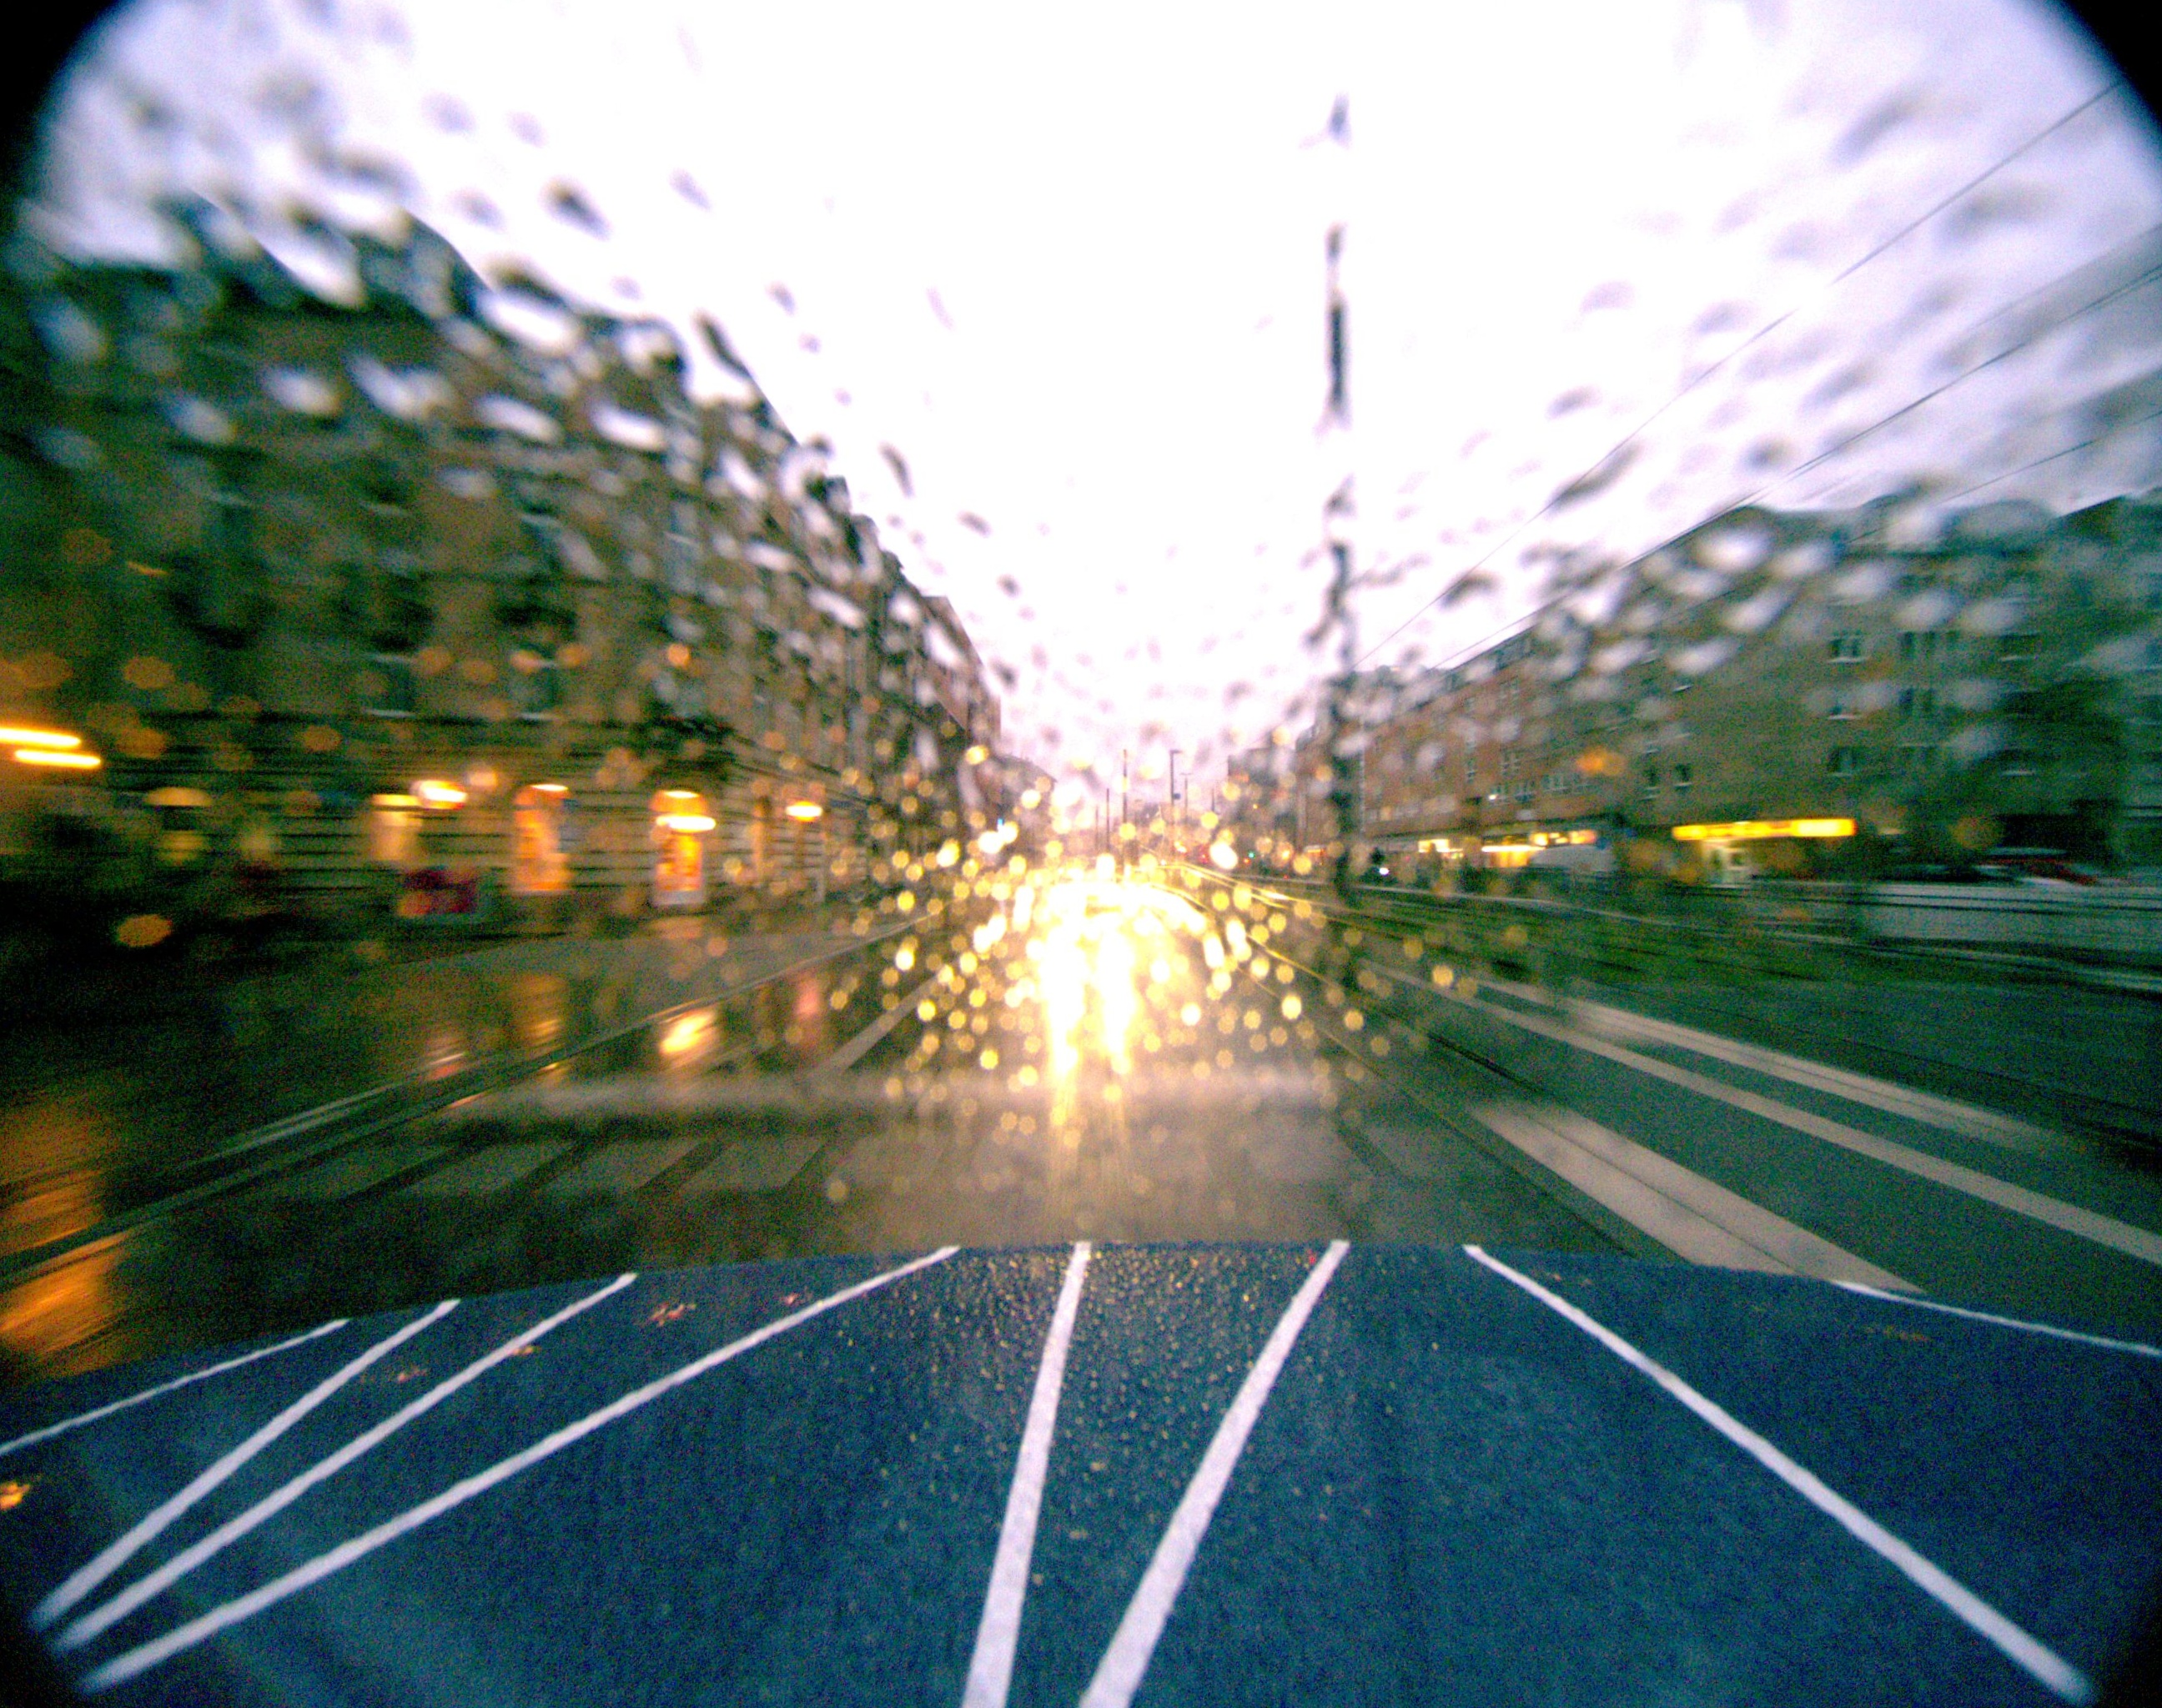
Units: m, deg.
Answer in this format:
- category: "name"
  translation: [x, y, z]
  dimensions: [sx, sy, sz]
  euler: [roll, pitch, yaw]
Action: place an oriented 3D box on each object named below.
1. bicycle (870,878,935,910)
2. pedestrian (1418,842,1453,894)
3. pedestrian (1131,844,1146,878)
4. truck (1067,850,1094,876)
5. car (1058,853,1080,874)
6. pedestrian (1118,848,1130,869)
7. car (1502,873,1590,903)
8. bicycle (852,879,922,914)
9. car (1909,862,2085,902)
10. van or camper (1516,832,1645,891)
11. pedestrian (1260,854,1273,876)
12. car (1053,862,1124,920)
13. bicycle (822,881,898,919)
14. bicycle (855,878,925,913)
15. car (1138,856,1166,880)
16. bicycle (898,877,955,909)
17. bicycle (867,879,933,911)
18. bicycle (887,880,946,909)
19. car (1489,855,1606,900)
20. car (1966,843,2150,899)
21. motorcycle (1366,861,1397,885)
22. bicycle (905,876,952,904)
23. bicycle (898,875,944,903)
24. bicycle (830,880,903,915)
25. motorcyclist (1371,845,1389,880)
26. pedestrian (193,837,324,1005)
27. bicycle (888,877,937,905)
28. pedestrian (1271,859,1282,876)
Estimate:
- category: "bicycle"
  translation: [-6.212, 1.387, 26.463]
  dimensions: [2.149, 1.048, 0.425]
  euler: [2, -1, -1]
- category: "pedestrian"
  translation: [12.323, 0.472, 26.425]
  dimensions: [0.799, 1.769, 0.820]
  euler: [-3, 1, -41]
- category: "pedestrian"
  translation: [3.498, 0.428, 46.340]
  dimensions: [0.812, 2.098, 0.804]
  euler: [-1, 0, -2]
- category: "truck"
  translation: [-0.057, 0.694, 59.067]
  dimensions: [1.909, 1.905, 4.617]
  euler: [-2, 0, 0]
- category: "car"
  translation: [-1.208, 0.900, 75.909]
  dimensions: [1.998, 2.002, 4.000]
  euler: [-2, 0, 1]
- category: "pedestrian"
  translation: [3.658, 0.388, 65.013]
  dimensions: [0.779, 1.694, 0.772]
  euler: [-2, 1, -18]
- category: "car"
  translation: [19.023, 1.365, 31.266]
  dimensions: [1.458, 1.116, 3.426]
  euler: [0, 0, -2]
- category: "bicycle"
  translation: [-6.276, 1.365, 24.620]
  dimensions: [2.093, 1.046, 0.478]
  euler: [2, 0, -1]
- category: "car"
  translation: [35.679, 1.052, 29.782]
  dimensions: [1.606, 1.422, 4.140]
  euler: [0, 0, -11]
- category: "van or camper"
  translation: [25.140, 0.351, 38.696]
  dimensions: [2.778, 2.666, 6.757]
  euler: [-2, 0, 7]
- category: "pedestrian"
  translation: [12.815, 0.762, 52.521]
  dimensions: [0.636, 1.515, 0.756]
  euler: [-2, 0, 0]
- category: "car"
  translation: [0.182, 0.979, 21.813]
  dimensions: [1.774, 1.449, 4.221]
  euler: [-2, 0, 0]
- category: "bicycle"
  translation: [-6.478, 1.336, 22.302]
  dimensions: [2.097, 1.046, 0.477]
  euler: [1, 0, -26]
- category: "bicycle"
  translation: [-6.300, 1.366, 25.116]
  dimensions: [2.149, 1.048, 0.425]
  euler: [2, -1, -1]
- category: "car"
  translation: [4.512, 0.848, 48.551]
  dimensions: [1.435, 1.433, 3.136]
  euler: [-2, 0, 1]
- category: "bicycle"
  translation: [-5.756, 1.438, 28.299]
  dimensions: [2.013, 1.089, 0.425]
  euler: [2, 0, -1]
- category: "bicycle"
  translation: [-6.163, 1.391, 25.921]
  dimensions: [2.149, 1.049, 0.484]
  euler: [1, 0, -1]
- category: "bicycle"
  translation: [-5.982, 1.476, 27.646]
  dimensions: [2.013, 0.965, 0.425]
  euler: [2, 0, -1]
- category: "car"
  translation: [15.447, 0.732, 25.385]
  dimensions: [1.686, 1.346, 3.545]
  euler: [-2, 0, -1]
- category: "car"
  translation: [38.324, 0.633, 29.981]
  dimensions: [1.748, 2.022, 4.140]
  euler: [0, 0, -11]
- category: "motorcycle"
  translation: [13.202, 0.836, 33.411]
  dimensions: [0.514, 1.002, 1.806]
  euler: [-2, 0, -3]
- category: "bicycle"
  translation: [-5.867, 1.387, 29.340]
  dimensions: [1.734, 1.049, 0.371]
  euler: [1, 0, -1]
- category: "bicycle"
  translation: [-6.284, 1.382, 29.836]
  dimensions: [1.734, 1.049, 0.371]
  euler: [1, 0, -1]
- category: "bicycle"
  translation: [-6.621, 1.341, 23.496]
  dimensions: [2.093, 1.046, 0.478]
  euler: [1, 0, -1]
- category: "motorcyclist"
  translation: [13.223, 0.371, 33.576]
  dimensions: [0.500, 1.487, 0.556]
  euler: [-2, 1, -5]
- category: "pedestrian"
  translation: [-10.429, 0.802, 9.688]
  dimensions: [0.857, 2.002, 0.916]
  euler: [-1, 0, -29]
- category: "bicycle"
  translation: [-6.350, 1.392, 28.652]
  dimensions: [1.734, 1.049, 0.371]
  euler: [1, 0, -1]
- category: "pedestrian"
  translation: [13.583, 0.928, 52.737]
  dimensions: [0.608, 1.096, 0.591]
  euler: [-2, 0, 0]
